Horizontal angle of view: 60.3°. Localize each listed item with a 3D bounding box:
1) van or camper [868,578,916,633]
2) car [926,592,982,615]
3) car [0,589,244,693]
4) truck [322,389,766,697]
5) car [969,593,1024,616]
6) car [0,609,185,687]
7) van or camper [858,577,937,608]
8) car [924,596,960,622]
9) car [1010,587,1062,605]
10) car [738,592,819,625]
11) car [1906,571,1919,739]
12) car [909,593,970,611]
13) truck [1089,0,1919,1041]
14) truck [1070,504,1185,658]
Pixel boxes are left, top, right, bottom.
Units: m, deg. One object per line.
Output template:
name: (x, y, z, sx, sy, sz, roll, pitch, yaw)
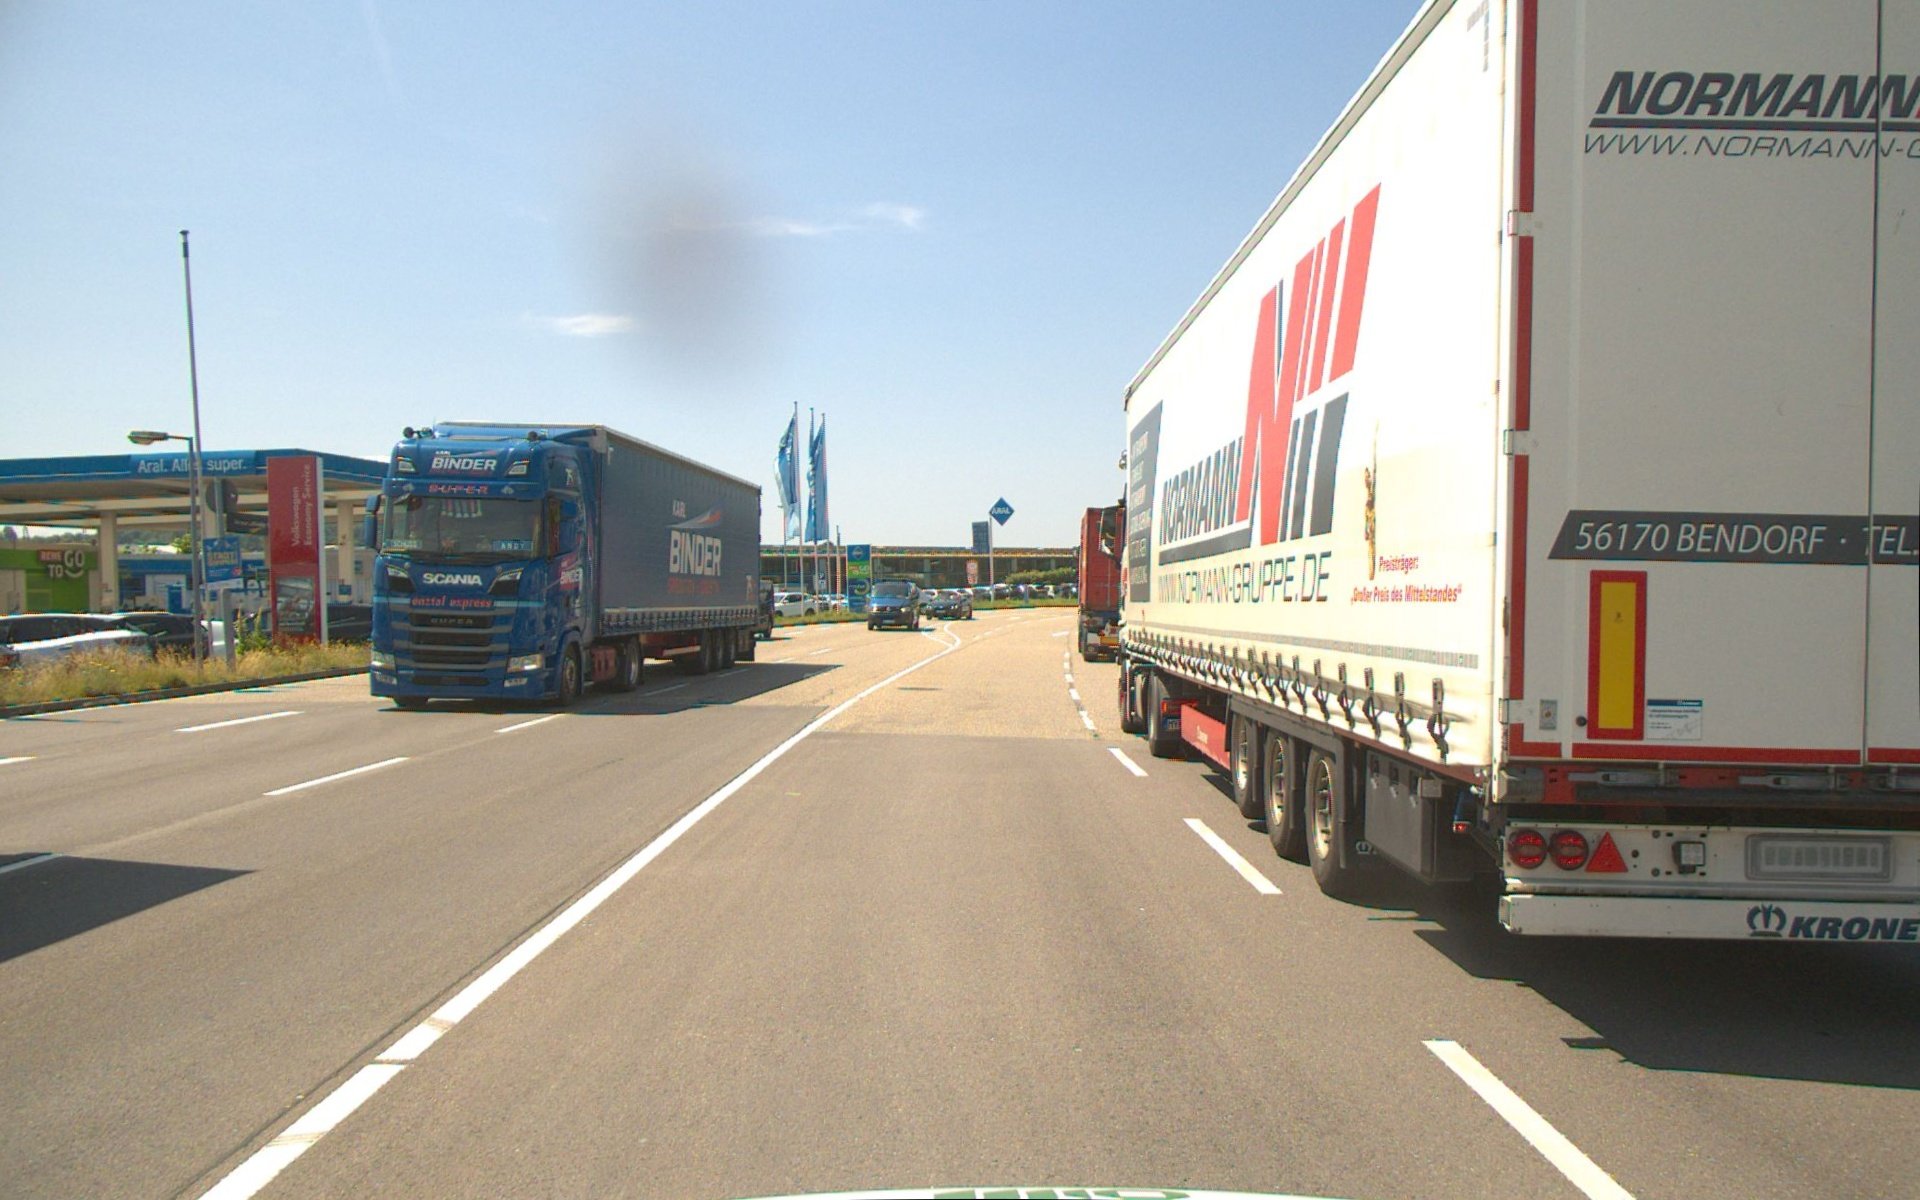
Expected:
van or camper: (-2.797, 0.198, 68.958, 1.799, 2.175, 5.342, 0, 0, 0)
car: (-0.478, 0.263, 127.263, 3.916, 1.780, 1.929, 0, 0, 33)
car: (-14.129, 0.637, 27.406, 4.117, 1.614, 1.767, 0, 0, -26)
truck: (-6.366, -0.671, 29.794, 2.784, 3.957, 17.012, 0, 0, 3)
car: (2.912, 0.384, 131.241, 3.916, 1.780, 1.994, 0, -1, 33)
car: (-15.943, 0.824, 29.129, 4.120, 1.270, 1.766, 0, 0, -28)
van or camper: (-3.916, -0.467, 104.353, 4.744, 1.938, 1.906, 0, -1, 7)
car: (-0.926, 0.473, 85.690, 1.810, 1.293, 4.176, 0, 0, 0)
car: (6.354, -0.313, 138.749, 3.913, 1.340, 1.830, -2, 0, 31)
car: (-9.799, 0.449, 89.766, 1.832, 1.742, 4.500, 0, -1, 37)
car: (7.682, 0.521, 9.069, 3.778, 1.720, 1.943, -5, 0, -2)
car: (-1.551, 0.149, 124.234, 4.159, 1.383, 1.996, 0, 0, 31)
truck: (3.184, -0.580, 14.384, 2.912, 4.165, 17.635, 0, 0, 1)
truck: (4.680, -0.502, 48.560, 2.592, 3.873, 13.364, 0, 0, 2)
